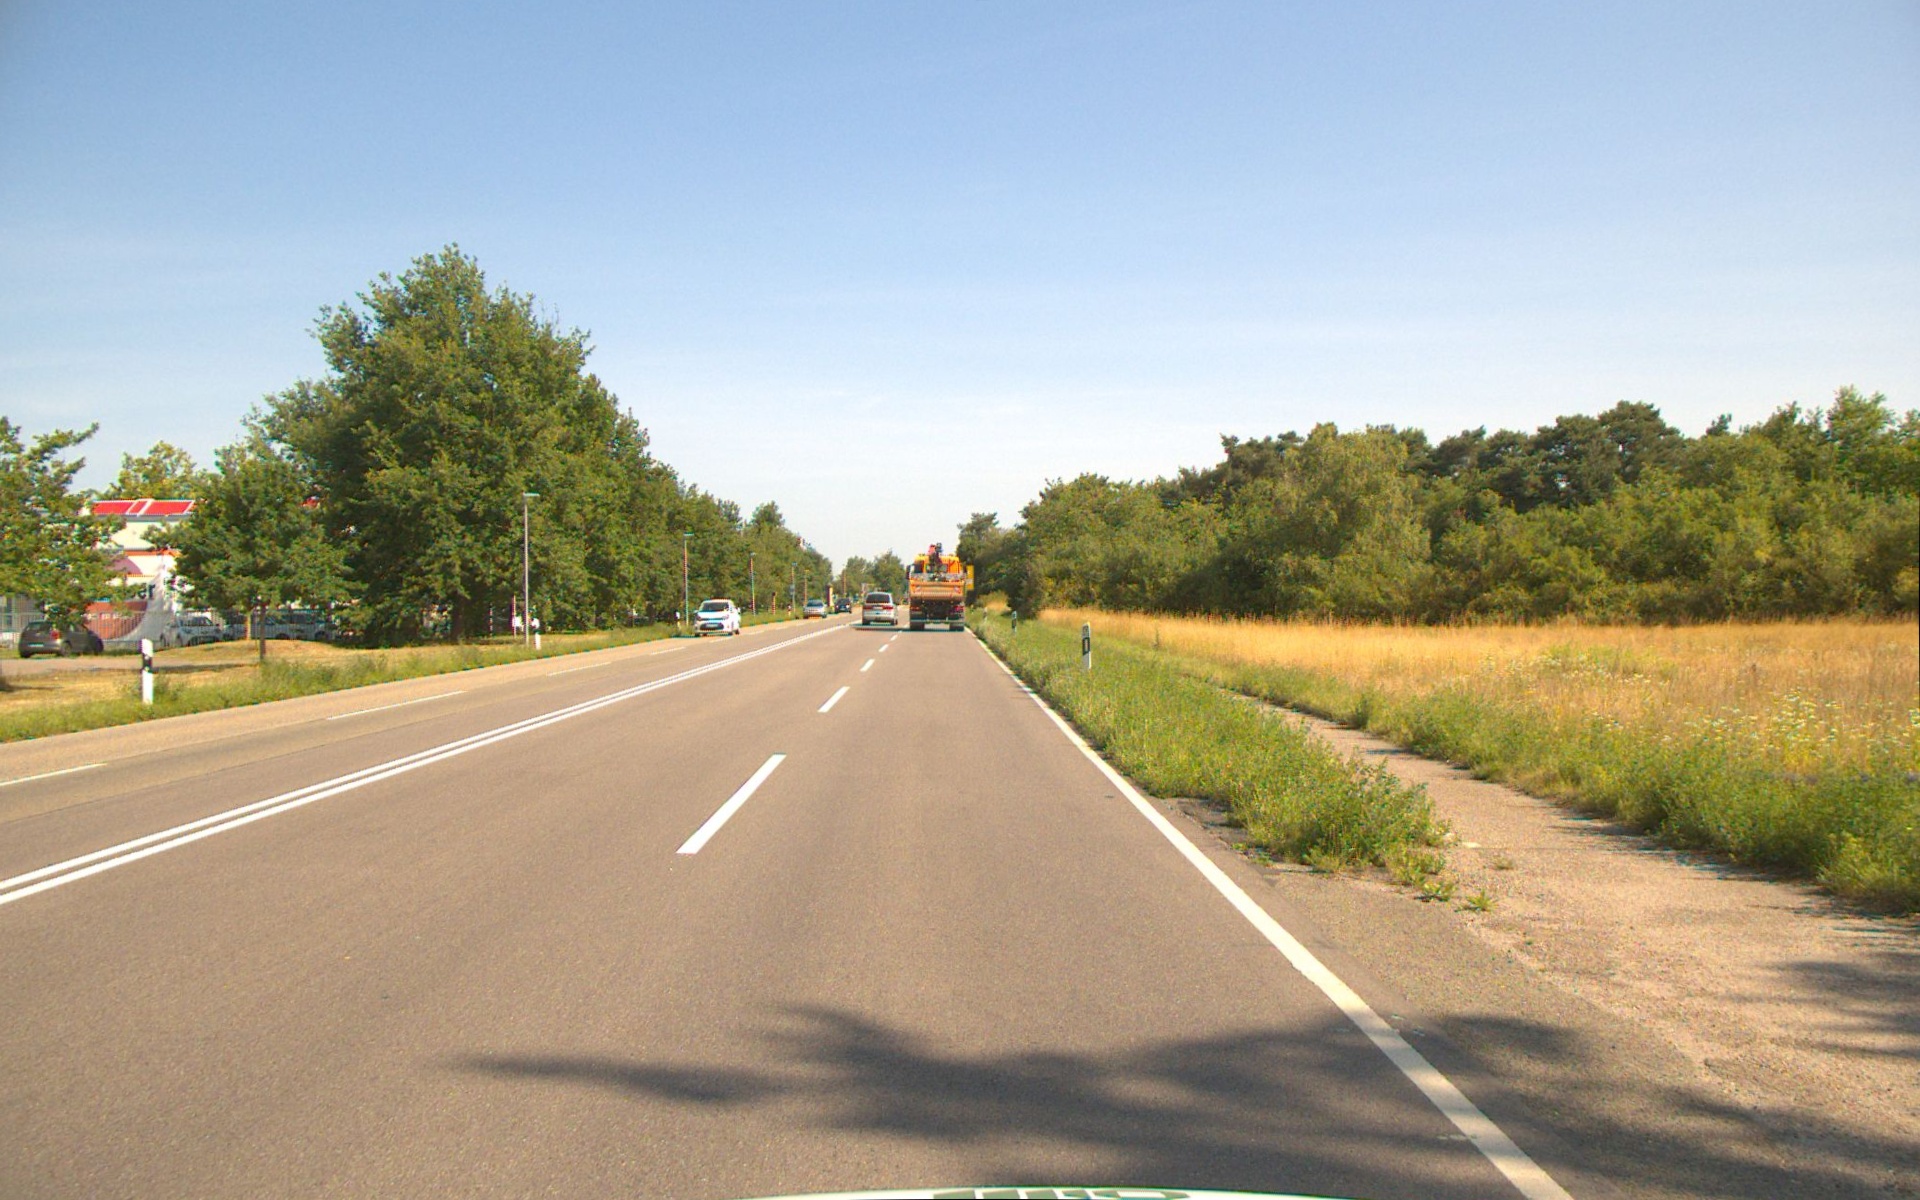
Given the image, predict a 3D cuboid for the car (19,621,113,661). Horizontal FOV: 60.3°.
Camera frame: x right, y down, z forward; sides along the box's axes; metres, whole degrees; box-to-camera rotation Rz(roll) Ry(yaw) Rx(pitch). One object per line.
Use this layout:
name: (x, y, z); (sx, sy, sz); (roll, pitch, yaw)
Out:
car: (-34.079, 1.536, 63.152); (1.603, 1.414, 3.721); (-1, 0, -2)

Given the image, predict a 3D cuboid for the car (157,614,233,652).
car: (-32.657, 1.424, 70.578); (1.727, 1.527, 3.935); (-1, 0, -44)

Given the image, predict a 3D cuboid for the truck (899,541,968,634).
truck: (-1.274, -0.551, 75.001); (2.815, 3.948, 7.395); (1, 0, -3)

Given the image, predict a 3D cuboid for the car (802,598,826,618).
car: (-11.678, 0.625, 132.271); (1.566, 1.467, 3.999); (-3, 0, -1)

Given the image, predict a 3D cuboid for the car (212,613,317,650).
car: (-31.014, 1.394, 73.793); (3.906, 1.527, 1.757); (-1, 0, -2)

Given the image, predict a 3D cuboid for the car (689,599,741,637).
car: (-10.284, 0.726, 69.630); (1.626, 1.462, 3.734); (-3, 0, -1)

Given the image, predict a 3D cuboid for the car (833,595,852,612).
car: (-12.472, 0.391, 175.128); (1.789, 1.701, 4.387); (-3, 0, -2)

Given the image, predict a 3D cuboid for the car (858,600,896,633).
car: (-4.343, 0.840, 86.719); (1.954, 1.611, 3.998); (-1, 0, -3)

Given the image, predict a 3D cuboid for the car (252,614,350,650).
car: (-31.001, 1.489, 77.887); (3.906, 1.527, 1.757); (-1, 0, -2)
